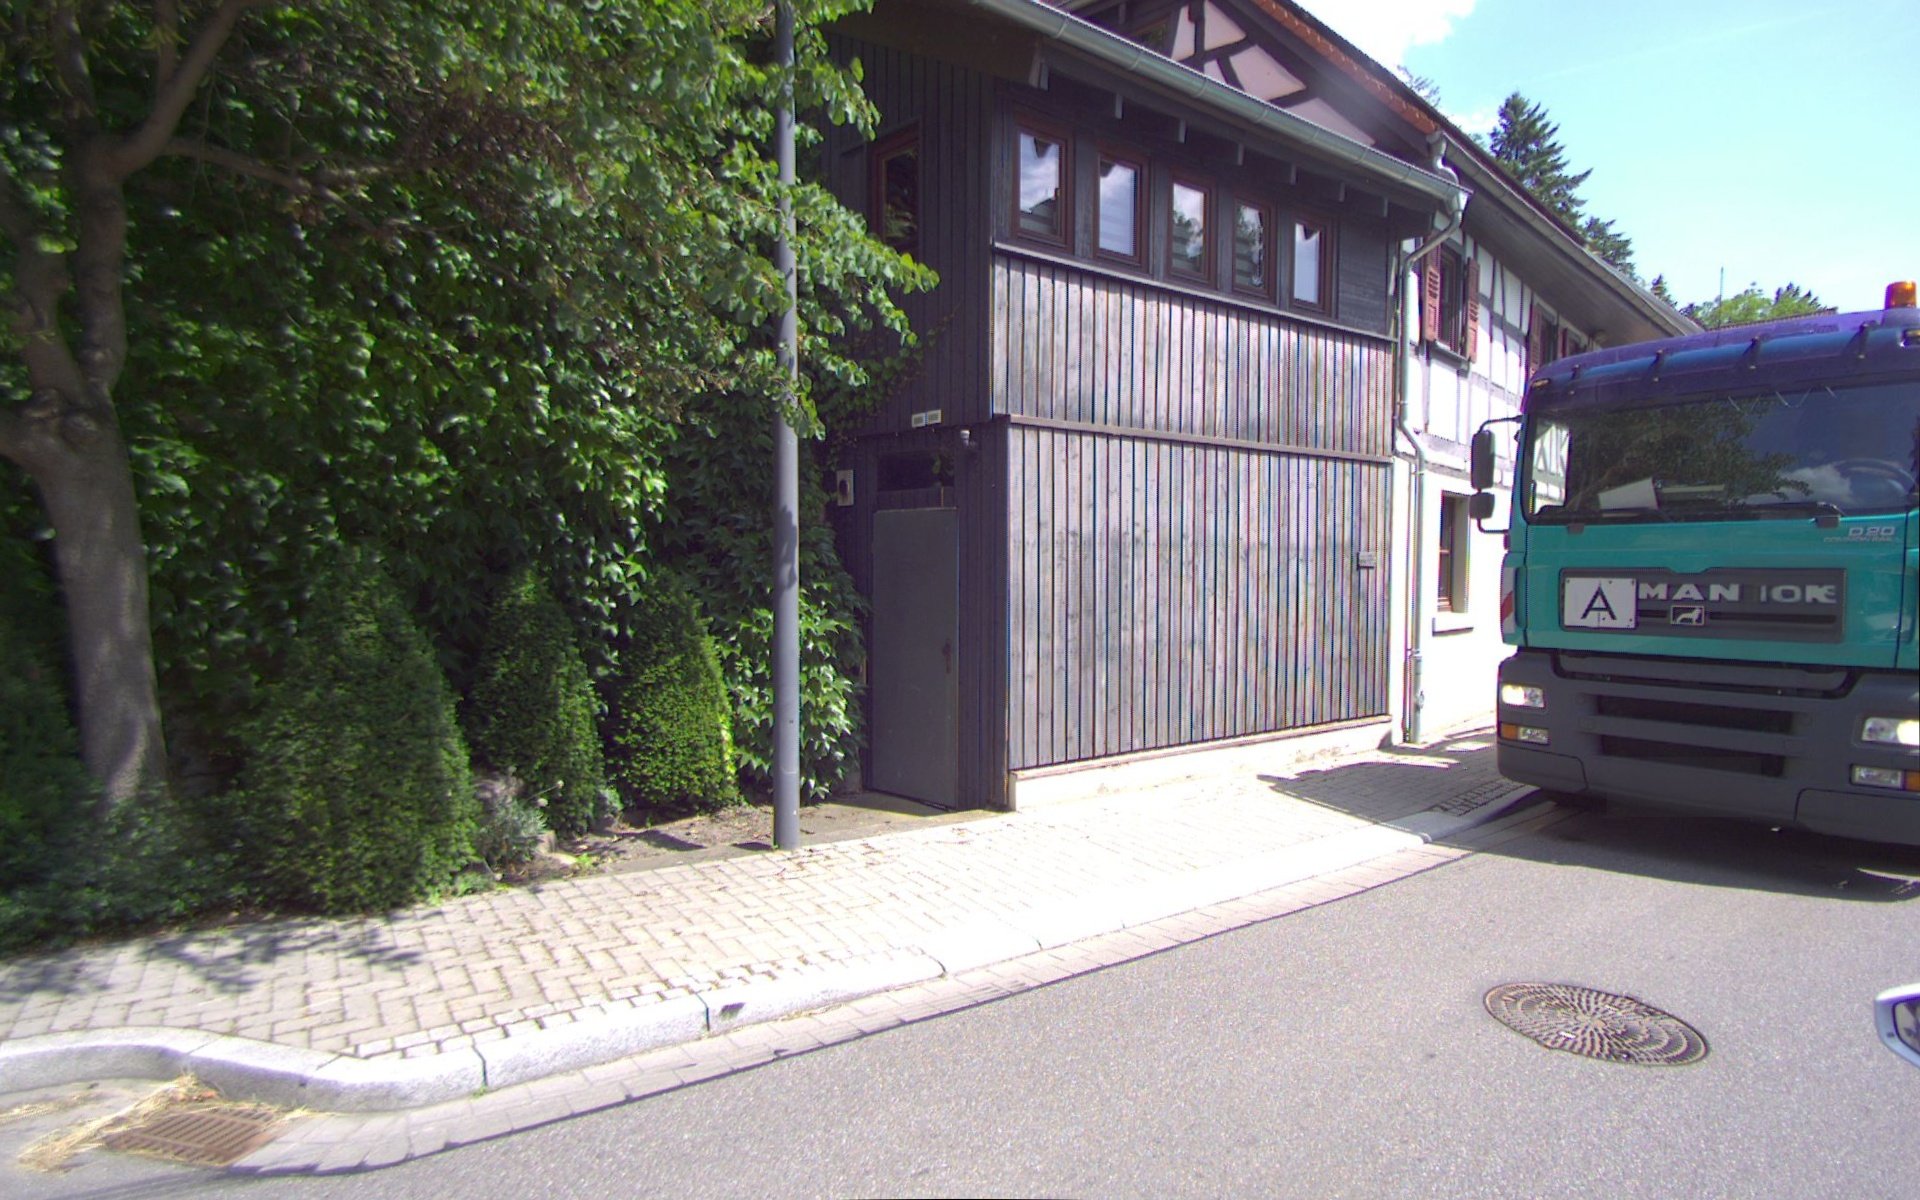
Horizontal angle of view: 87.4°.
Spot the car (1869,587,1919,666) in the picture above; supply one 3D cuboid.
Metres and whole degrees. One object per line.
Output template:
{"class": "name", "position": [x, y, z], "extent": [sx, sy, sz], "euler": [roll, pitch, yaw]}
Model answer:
{"class": "car", "position": [20.318, 0.501, 20.827], "extent": [4.582, 1.520, 1.877], "euler": [-1, 1, -44]}

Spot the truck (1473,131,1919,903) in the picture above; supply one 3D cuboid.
{"class": "truck", "position": [7.705, -0.383, 8.549], "extent": [9.486, 3.707, 2.392], "euler": [0, 0, -39]}
